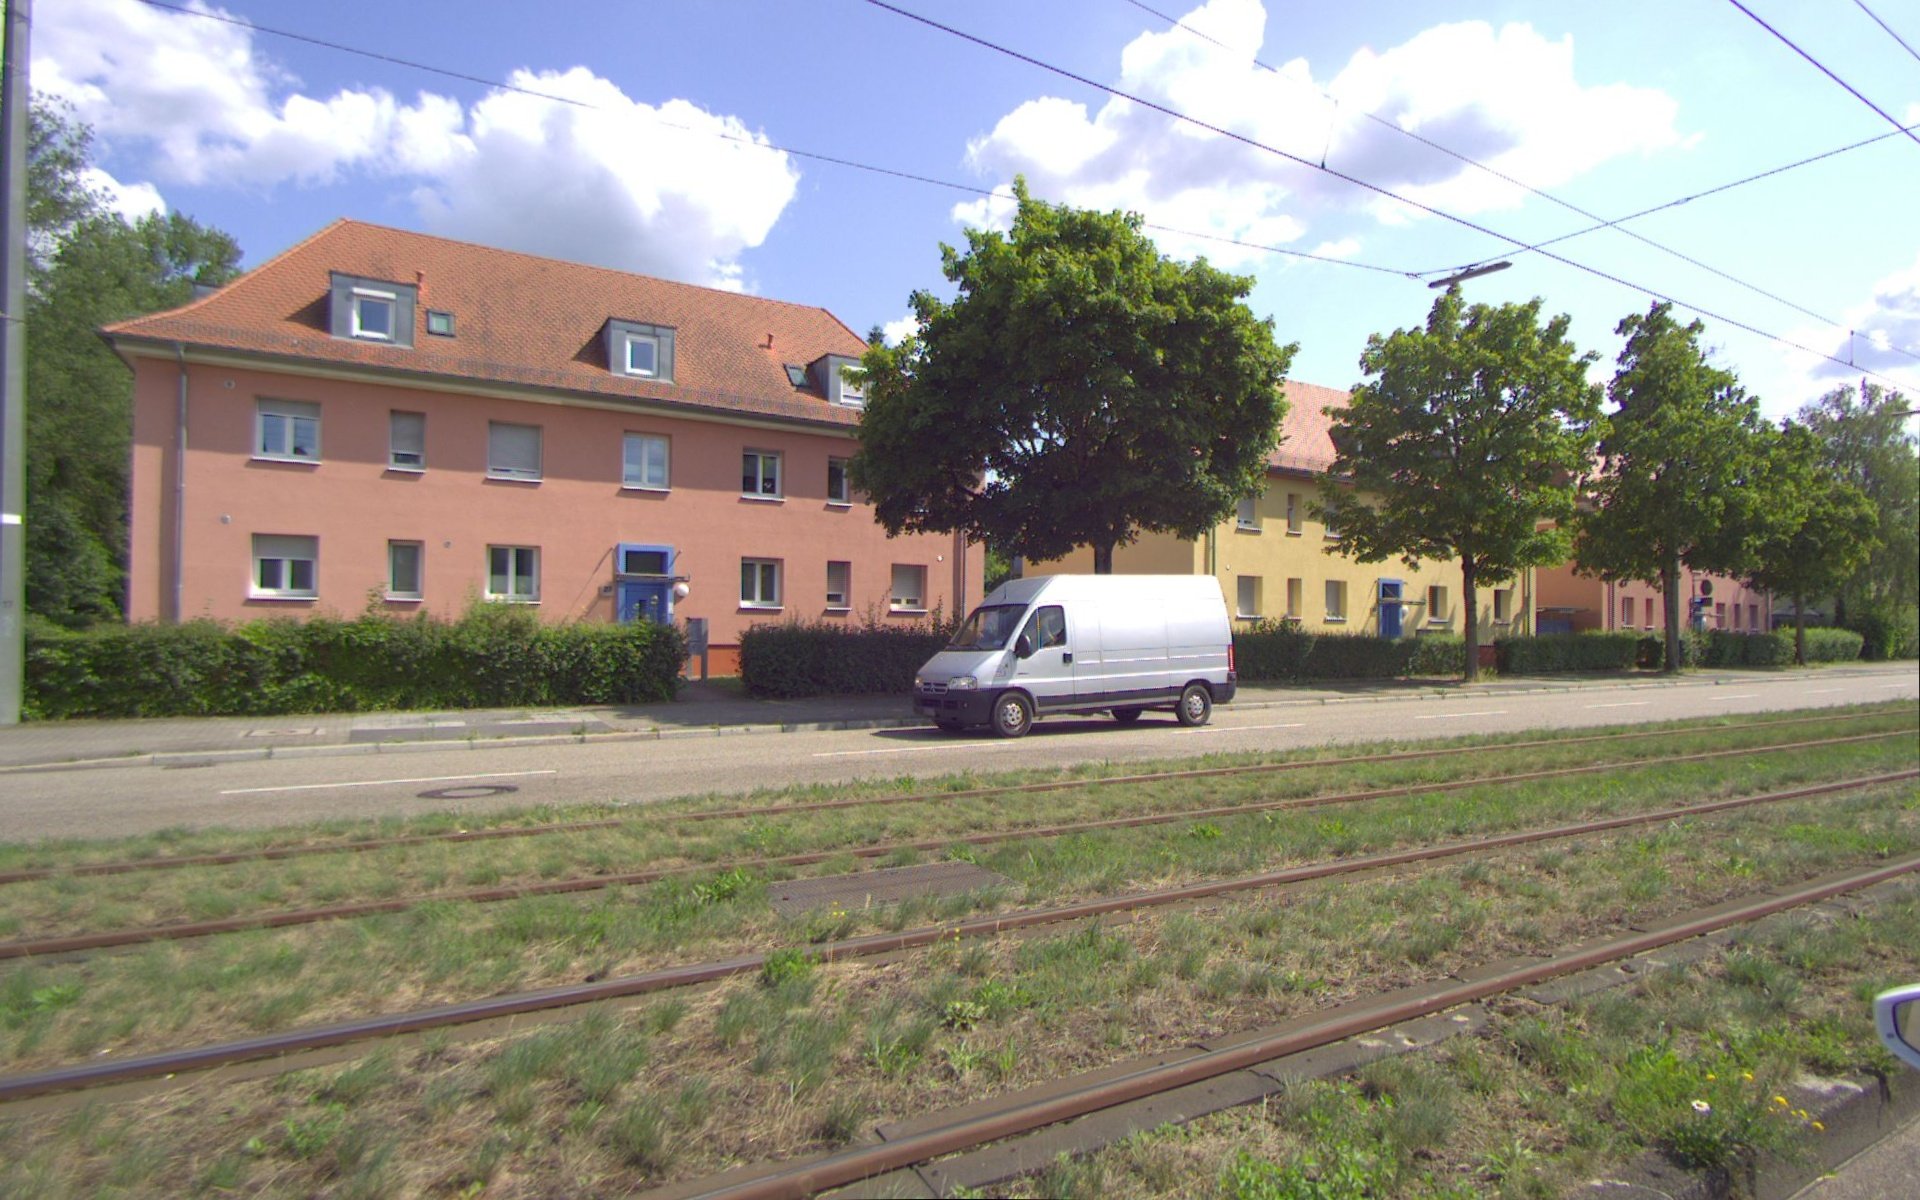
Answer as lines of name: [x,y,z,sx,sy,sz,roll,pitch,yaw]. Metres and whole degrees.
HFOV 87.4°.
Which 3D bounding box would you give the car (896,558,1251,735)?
car: [1.948,0.750,16.383,5.710,2.468,2.023,1,-3,-31]
